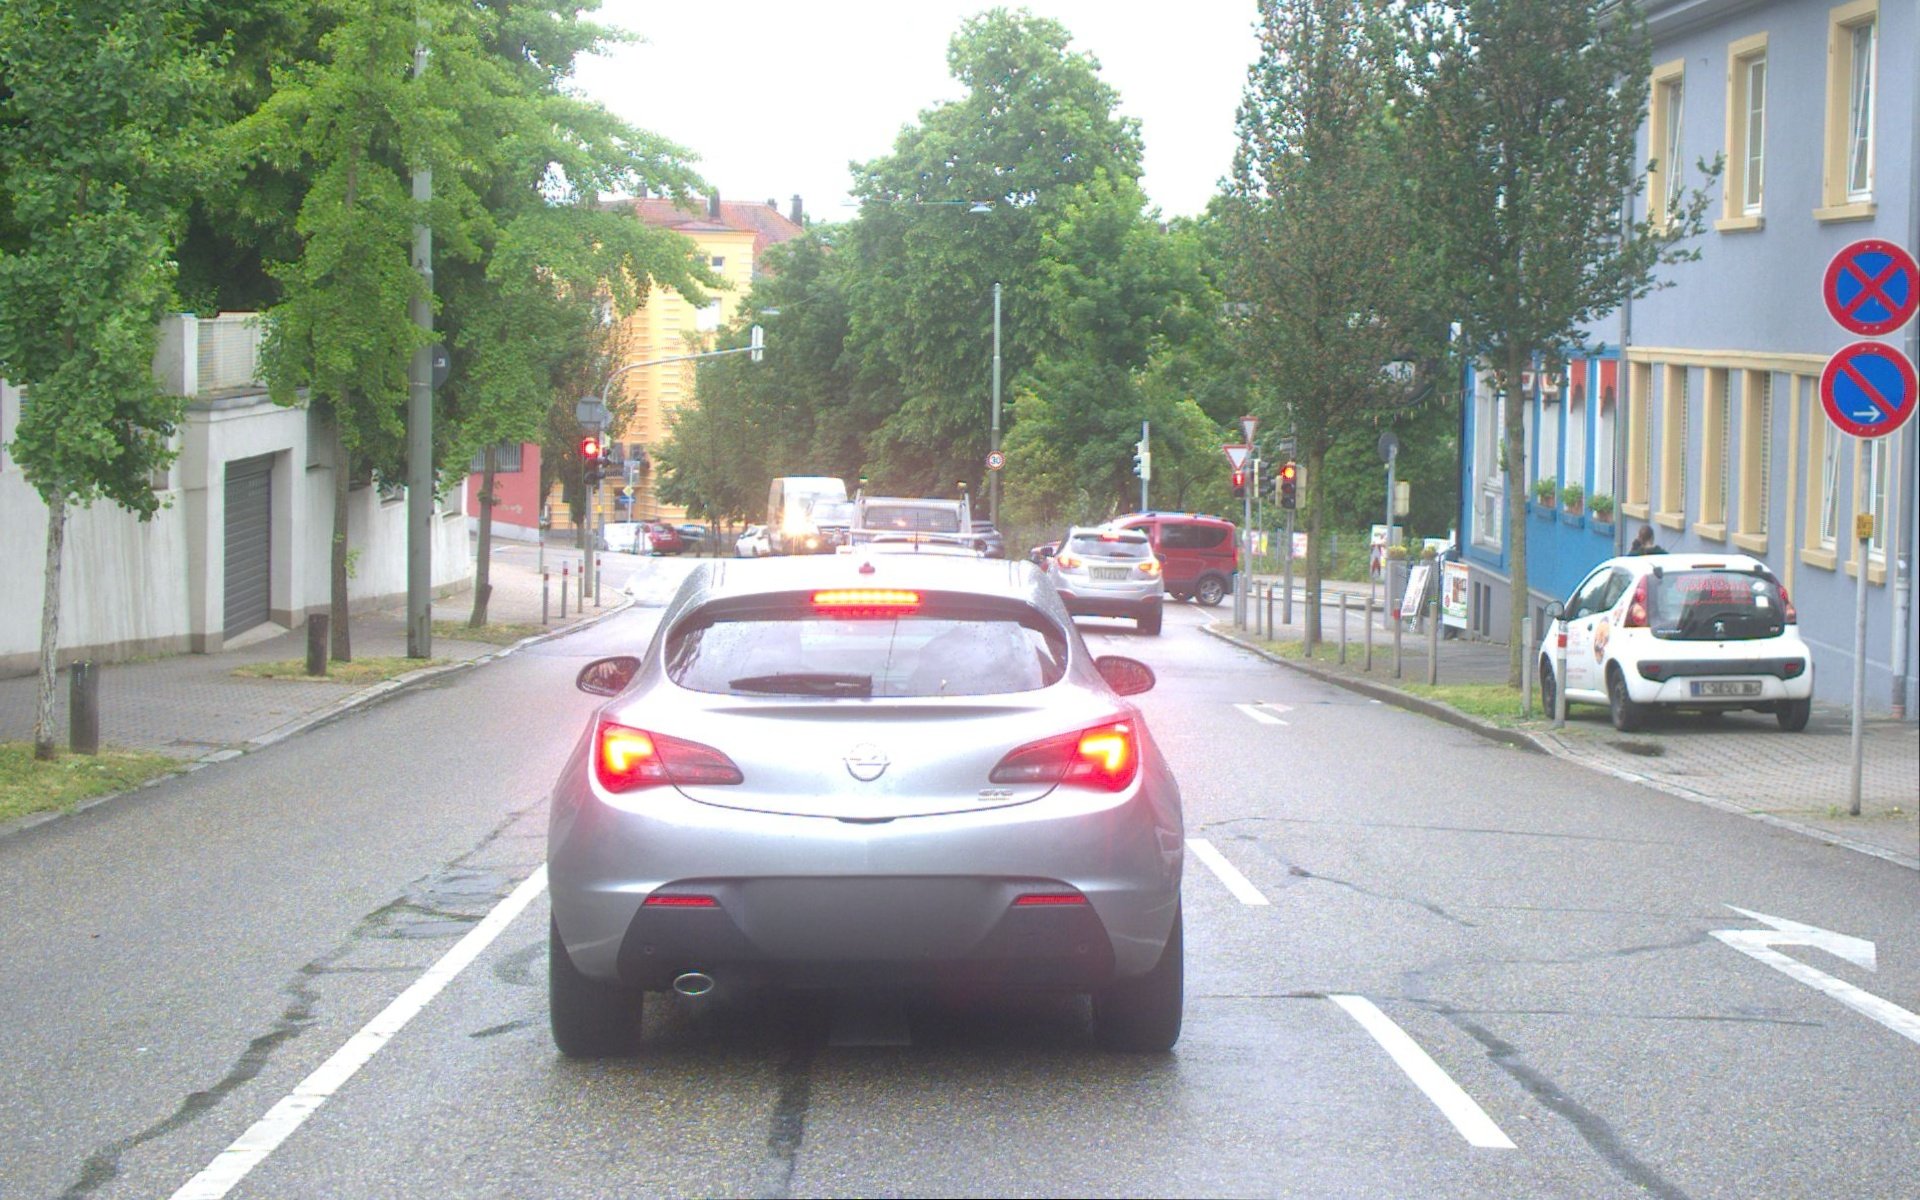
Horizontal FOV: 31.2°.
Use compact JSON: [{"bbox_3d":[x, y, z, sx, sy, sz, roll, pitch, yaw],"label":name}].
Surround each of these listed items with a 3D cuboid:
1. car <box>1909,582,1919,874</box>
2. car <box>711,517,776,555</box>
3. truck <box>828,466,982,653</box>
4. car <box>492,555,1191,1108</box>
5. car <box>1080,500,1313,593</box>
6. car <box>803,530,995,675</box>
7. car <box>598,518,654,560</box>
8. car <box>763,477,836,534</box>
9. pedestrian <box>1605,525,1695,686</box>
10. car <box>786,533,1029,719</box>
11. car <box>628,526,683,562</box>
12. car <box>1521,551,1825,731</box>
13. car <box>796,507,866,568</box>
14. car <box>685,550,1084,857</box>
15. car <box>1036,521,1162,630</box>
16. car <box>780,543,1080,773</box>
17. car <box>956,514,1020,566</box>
[{"bbox_3d":[5.828,0.696,14.948,1.962,1.443,4.527,1,1,-2],"label":"car"},{"bbox_3d":[-8.876,-2.616,140.447,1.722,1.538,3.881,0,1,-18],"label":"car"},{"bbox_3d":[-0.807,-0.600,48.213,1.962,2.420,4.936,2,1,-2],"label":"truck"},{"bbox_3d":[-0.396,0.595,11.092,1.837,1.429,3.880,1,1,-2],"label":"car"},{"bbox_3d":[4.845,-1.101,70.687,4.443,1.822,1.753,-1,1,-13],"label":"car"},{"bbox_3d":[-0.706,-0.018,38.219,1.962,1.443,4.306,2,1,-2],"label":"car"},{"bbox_3d":[-11.948,-2.184,123.111,1.722,1.455,3.880,0,1,-2],"label":"car"},{"bbox_3d":[-4.751,-2.769,101.344,1.722,1.632,3.881,0,1,-9],"label":"car"},{"bbox_3d":[7.551,0.051,37.637,0.783,1.723,0.651,2,1,0],"label":"pedestrian"},{"bbox_3d":[-0.501,0.175,30.560,1.962,1.443,4.306,2,1,-2],"label":"car"},{"bbox_3d":[-14.103,-2.590,159.211,1.722,1.632,3.881,0,1,-18],"label":"car"},{"bbox_3d":[6.100,0.306,29.826,1.722,1.443,3.880,0,1,-2],"label":"car"},{"bbox_3d":[-3.506,-1.706,93.722,1.870,1.632,3.880,0,1,-2],"label":"car"},{"bbox_3d":[-0.446,0.491,19.460,1.962,1.443,4.306,2,1,-2],"label":"car"},{"bbox_3d":[2.240,-0.422,56.250,1.722,1.708,3.880,0,1,-3],"label":"car"},{"bbox_3d":[-0.265,0.357,25.181,1.962,1.443,4.306,2,1,-2],"label":"car"},{"bbox_3d":[0.873,-1.935,110.019,1.722,1.632,3.880,0,1,-4],"label":"car"}]
